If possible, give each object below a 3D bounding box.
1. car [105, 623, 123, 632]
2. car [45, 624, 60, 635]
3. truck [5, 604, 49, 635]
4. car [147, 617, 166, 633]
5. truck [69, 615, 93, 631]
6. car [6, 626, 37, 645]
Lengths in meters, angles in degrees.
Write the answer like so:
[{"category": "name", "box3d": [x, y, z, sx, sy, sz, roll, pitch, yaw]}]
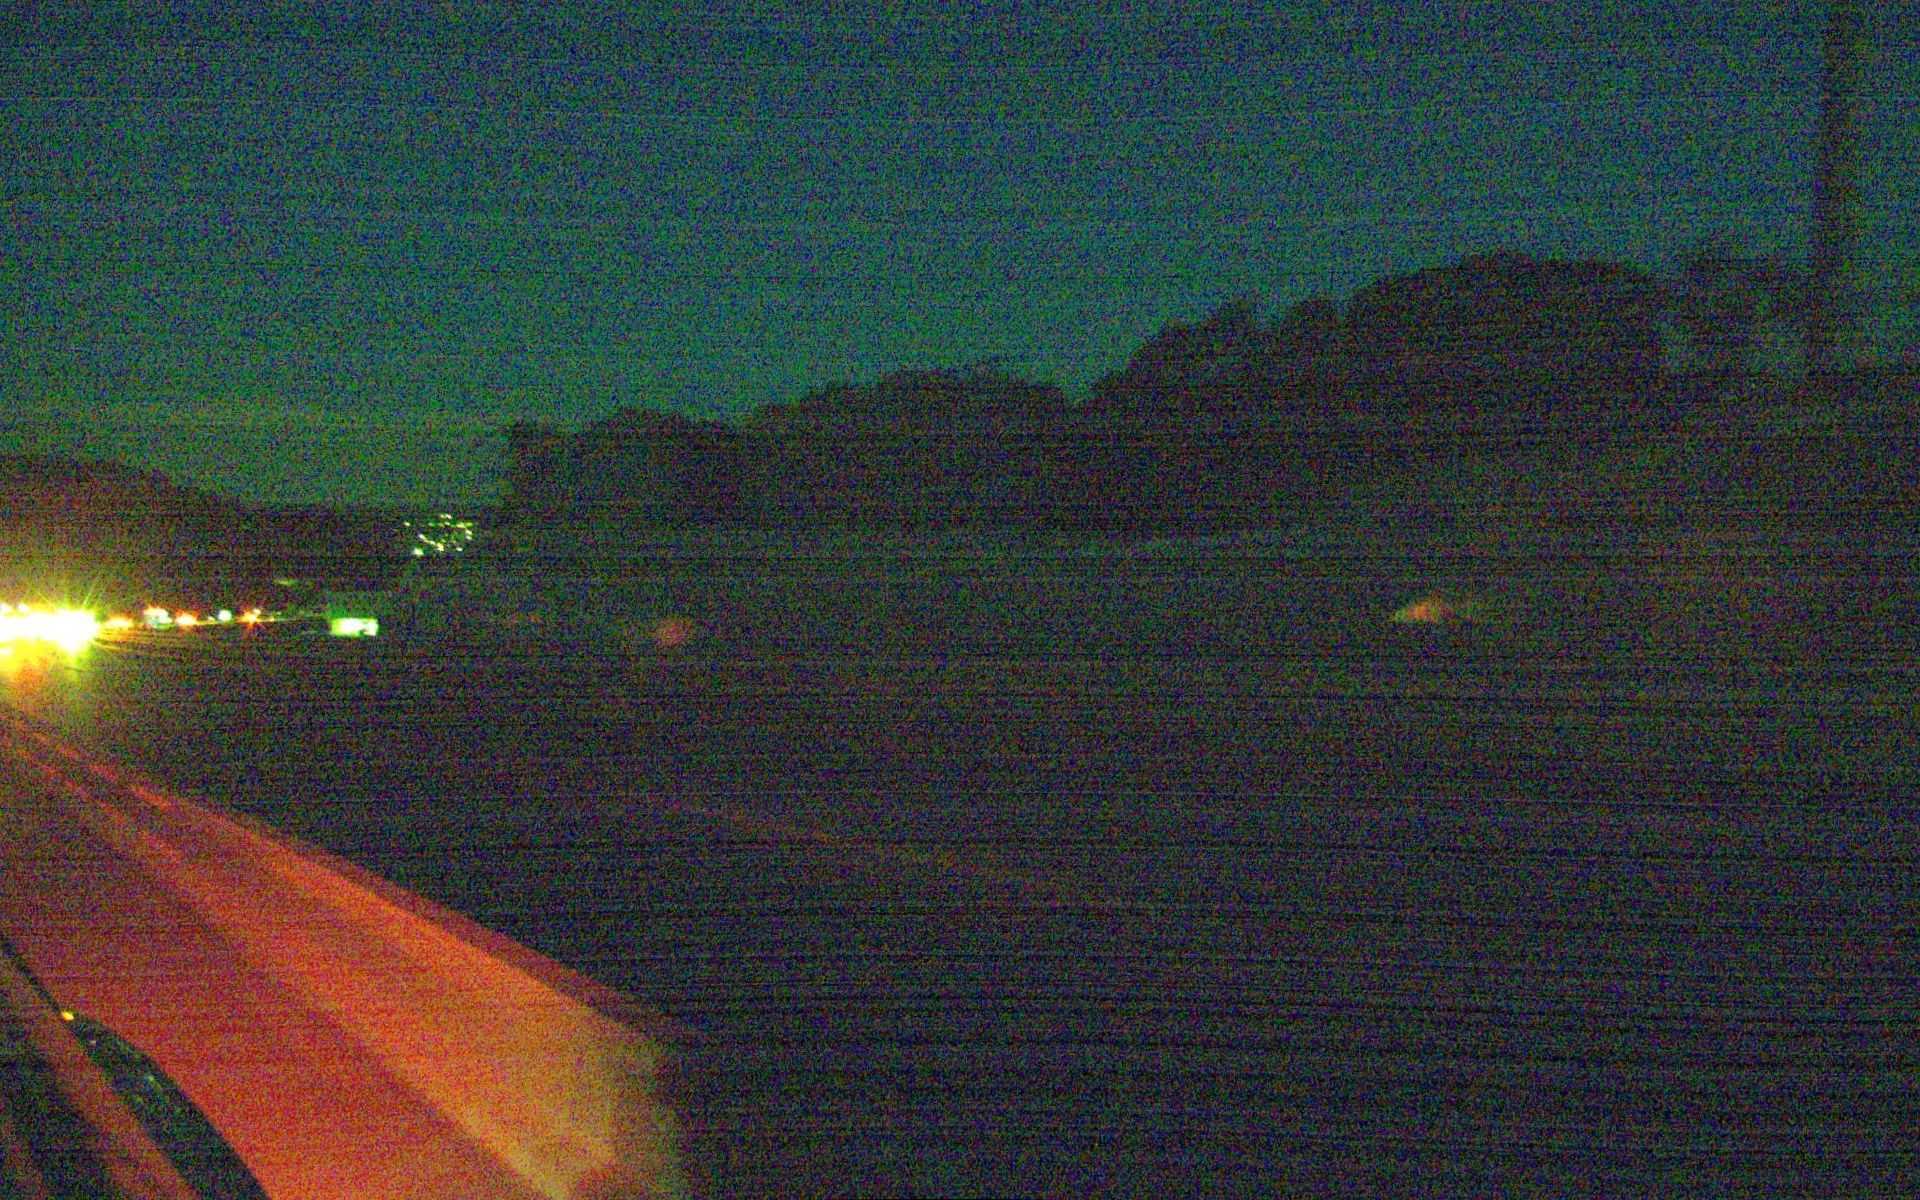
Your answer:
[{"category": "car", "box3d": [-138.395, 4.545, 165.563, 1.887, 1.437, 4.963, 2, -3, -37]}, {"category": "car", "box3d": [-150.041, 4.868, 167.332, 1.665, 1.641, 4.730, 2, -3, -39]}, {"category": "truck", "box3d": [-136.658, 2.823, 148.431, 2.925, 4.307, 17.182, 2, -1, -37]}, {"category": "car", "box3d": [-157.436, 4.883, 198.360, 2.453, 3.129, 7.404, 2, -1, -35]}, {"category": "truck", "box3d": [-145.685, 3.825, 167.731, 2.389, 2.443, 7.107, 2, -2, -37]}, {"category": "car", "box3d": [-78.681, 2.968, 84.846, 1.797, 1.527, 4.528, 2, -1, -43]}]
